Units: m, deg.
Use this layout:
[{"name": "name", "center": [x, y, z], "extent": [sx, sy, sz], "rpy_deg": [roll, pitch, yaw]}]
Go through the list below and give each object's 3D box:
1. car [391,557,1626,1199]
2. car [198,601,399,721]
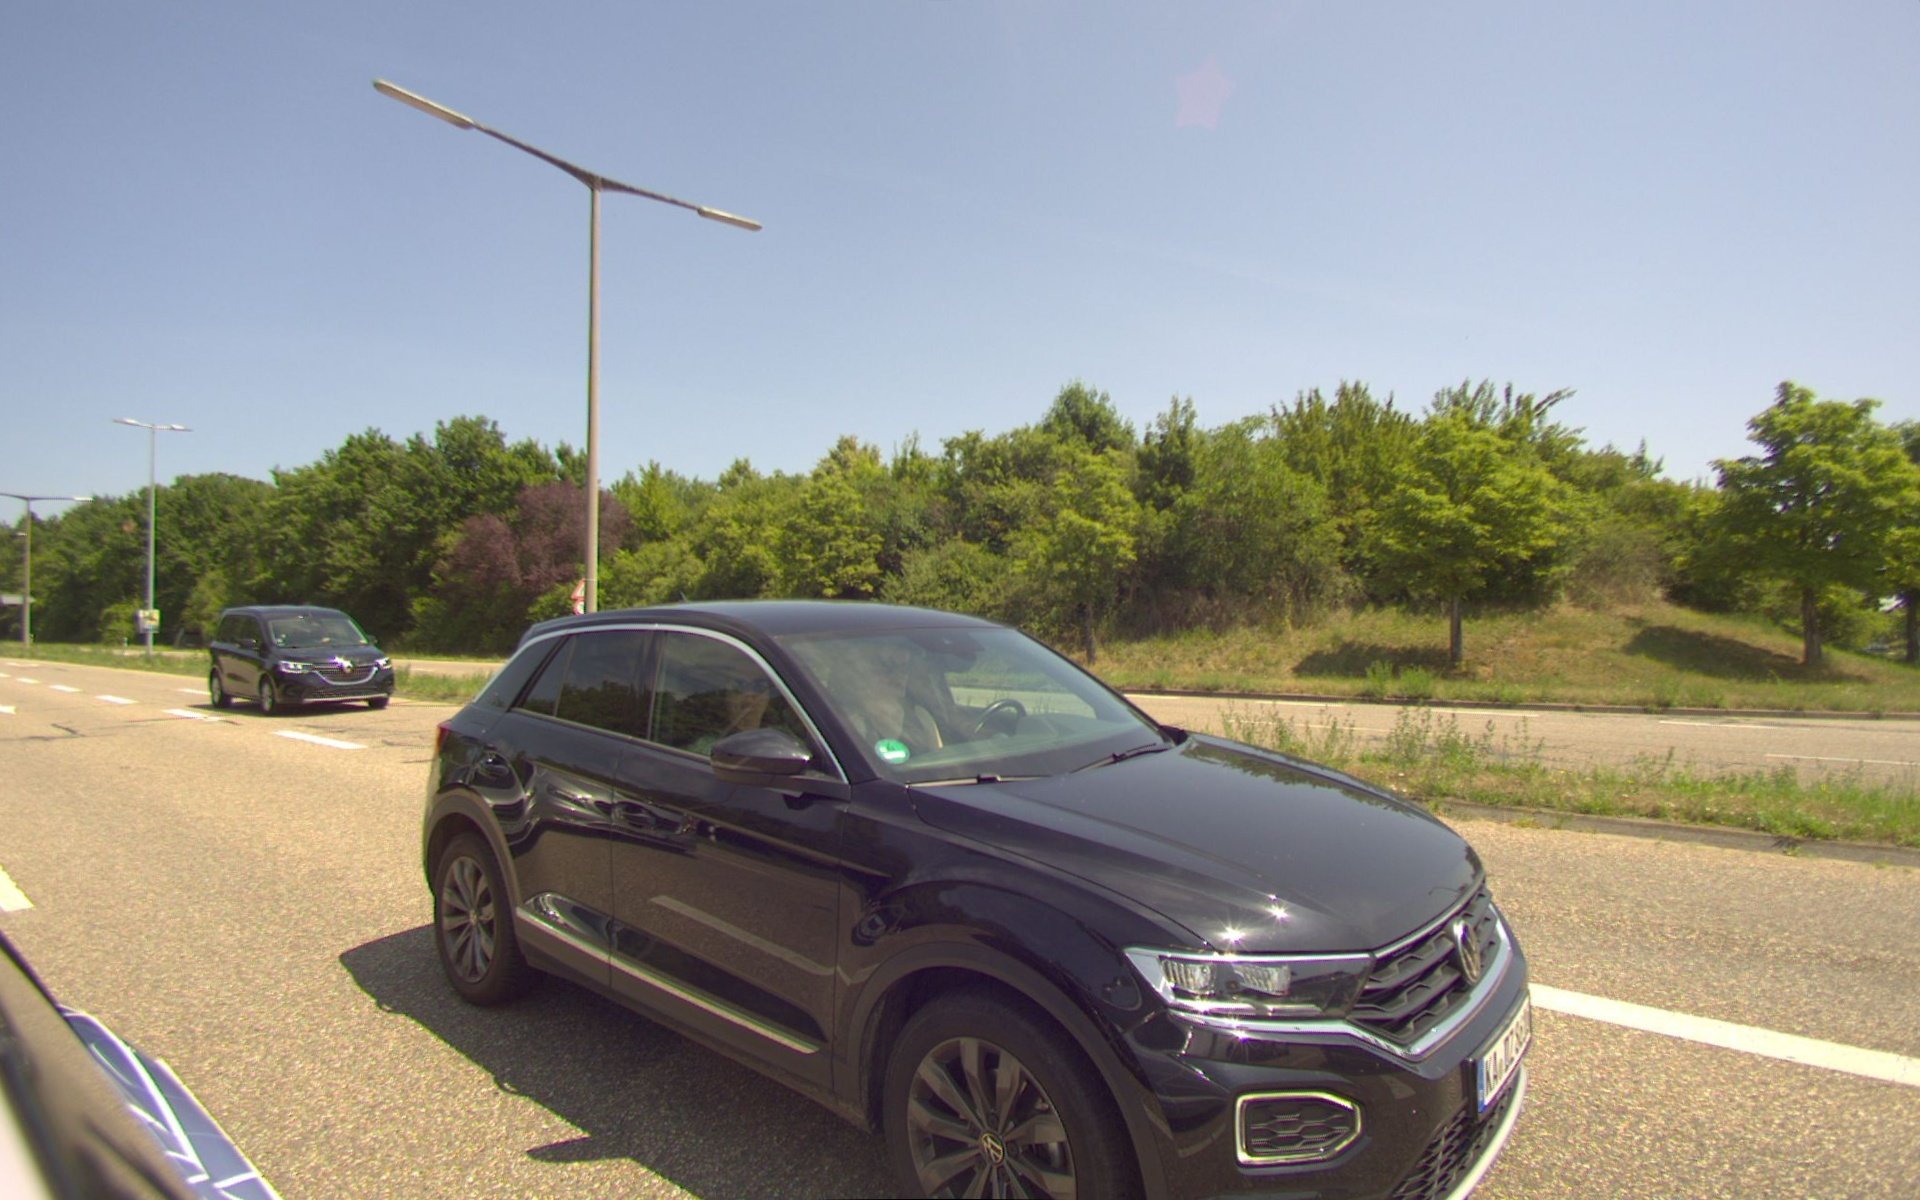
[{"name": "car", "center": [-0.239, 0.713, 3.419], "extent": [3.969, 1.523, 1.716], "rpy_deg": [-1, 0, 41]}, {"name": "car", "center": [-11.581, 1.001, 17.623], "extent": [4.317, 1.840, 1.714], "rpy_deg": [-2, -2, 39]}]
